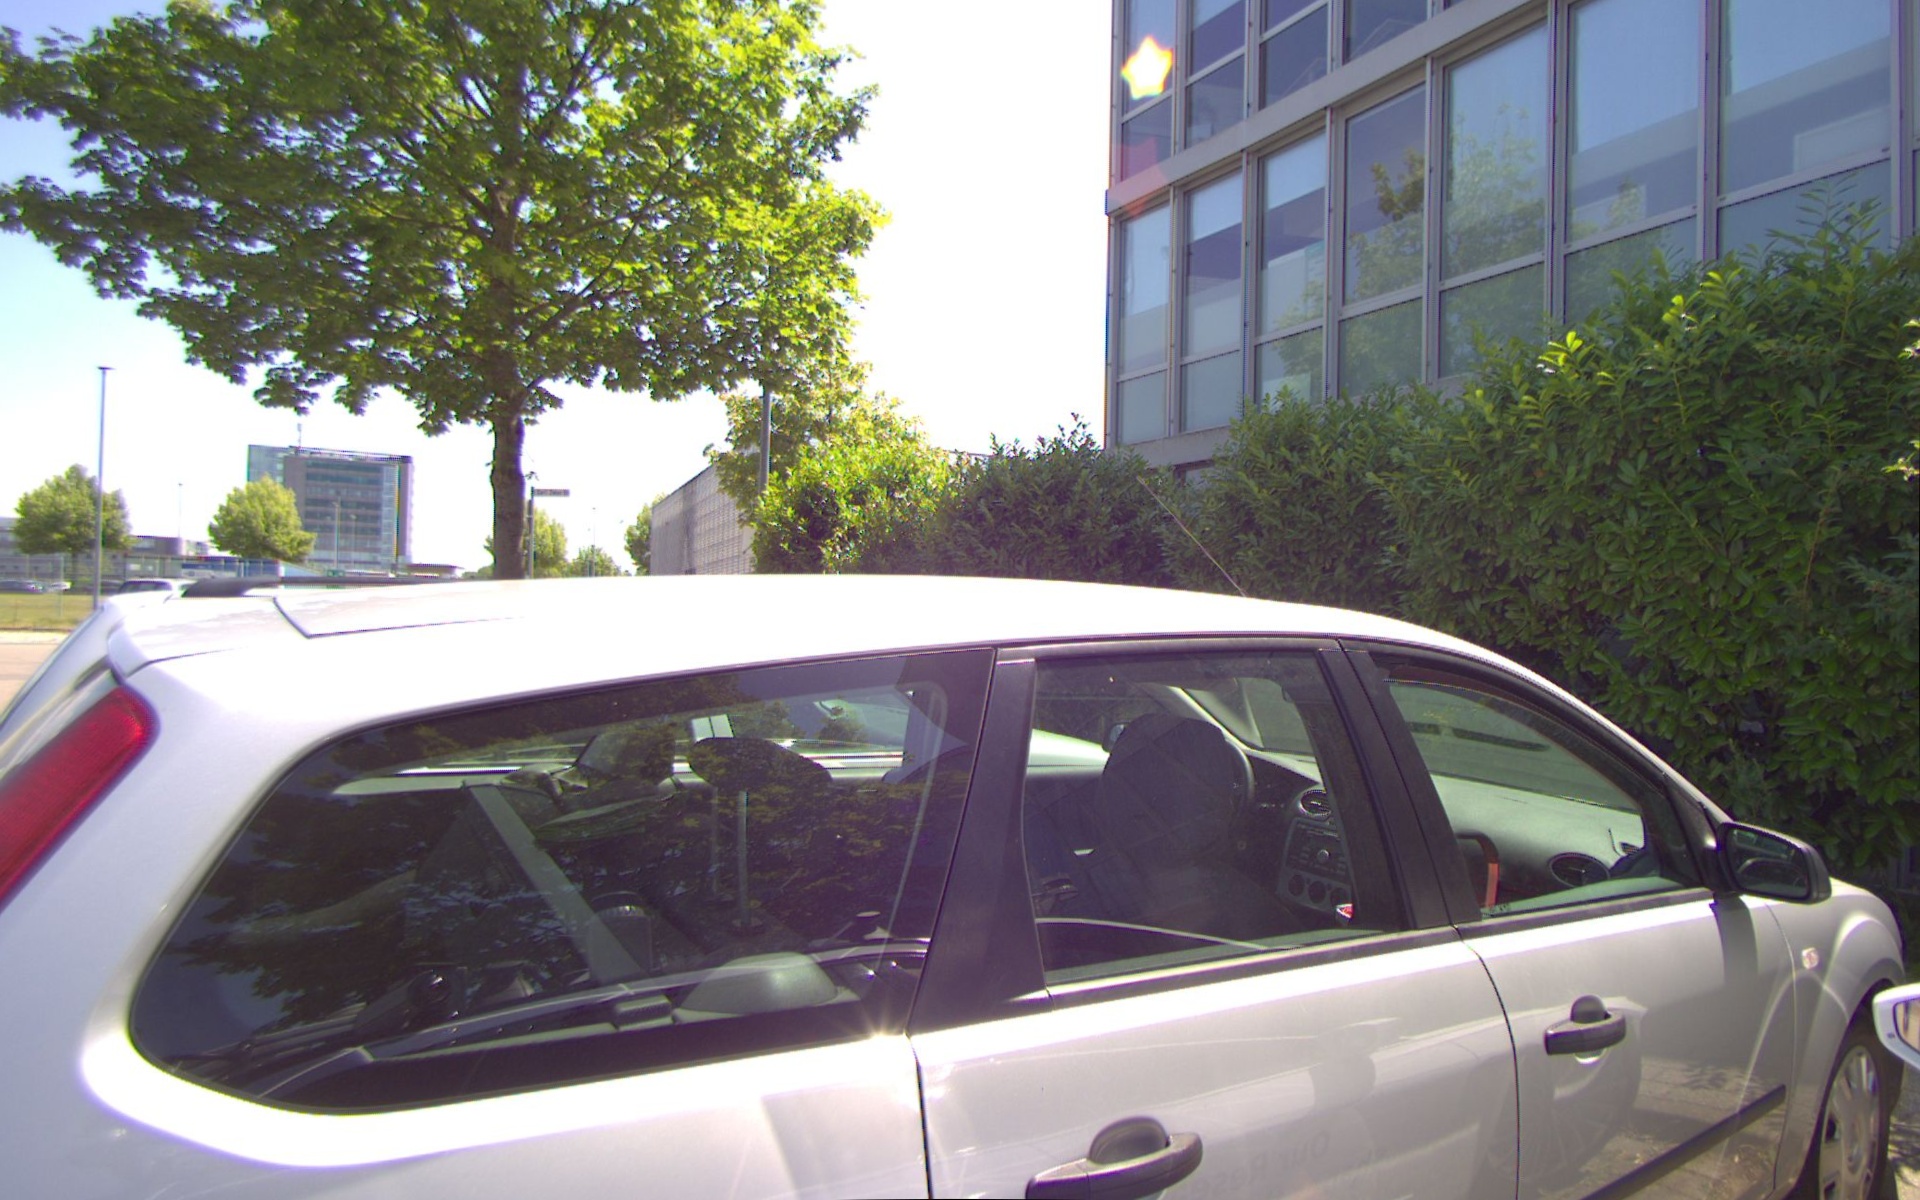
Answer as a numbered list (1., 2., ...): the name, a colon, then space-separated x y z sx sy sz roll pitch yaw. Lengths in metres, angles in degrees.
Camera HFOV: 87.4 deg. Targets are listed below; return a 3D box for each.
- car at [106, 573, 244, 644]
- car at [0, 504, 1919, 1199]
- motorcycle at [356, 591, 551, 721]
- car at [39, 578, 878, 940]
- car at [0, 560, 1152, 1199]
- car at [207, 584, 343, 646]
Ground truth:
1. car: -21.127 0.220 27.223 1.745 1.761 3.982 1 0 -20
2. car: 0.394 0.723 2.162 4.299 1.499 1.710 1 0 -31
3. motorcycle: -5.829 0.612 11.633 1.969 1.408 0.480 1 0 -34
4. car: -2.565 0.678 5.835 3.851 1.468 1.637 1 0 -34
5. car: -1.257 0.688 3.778 3.851 1.499 1.637 1 0 -34
6. car: -18.706 0.390 27.639 1.624 1.542 3.991 1 0 -11
